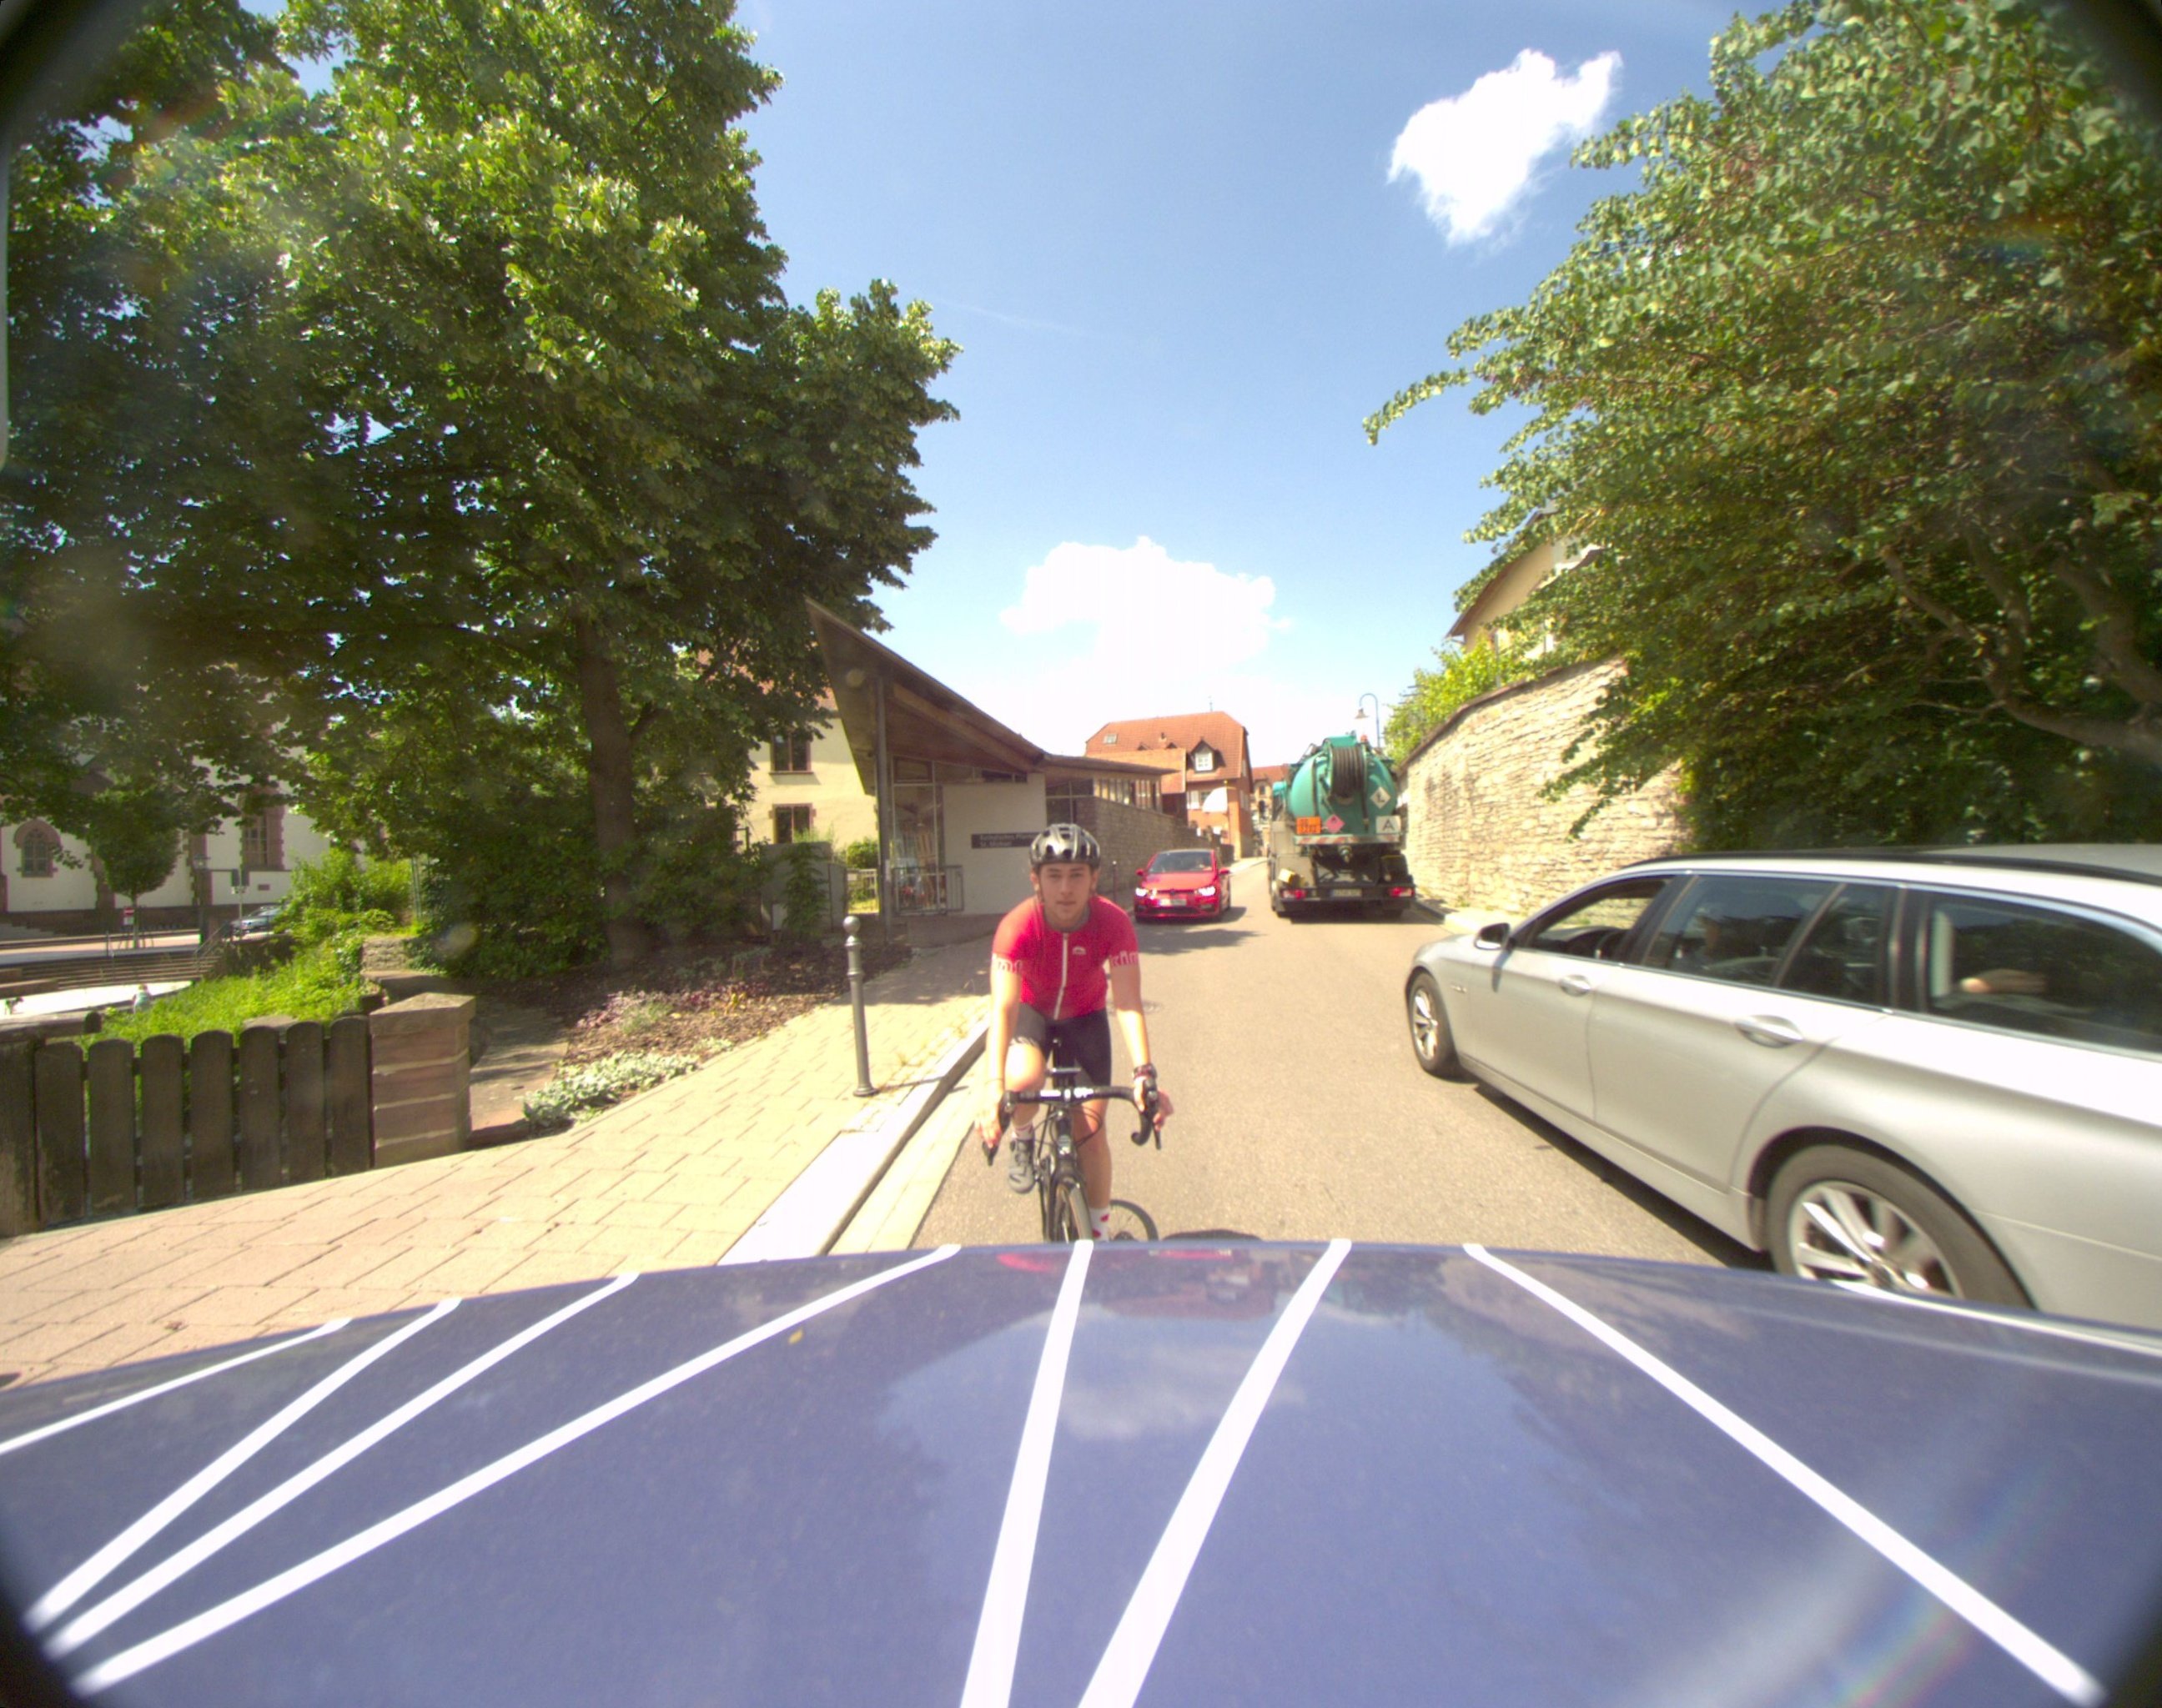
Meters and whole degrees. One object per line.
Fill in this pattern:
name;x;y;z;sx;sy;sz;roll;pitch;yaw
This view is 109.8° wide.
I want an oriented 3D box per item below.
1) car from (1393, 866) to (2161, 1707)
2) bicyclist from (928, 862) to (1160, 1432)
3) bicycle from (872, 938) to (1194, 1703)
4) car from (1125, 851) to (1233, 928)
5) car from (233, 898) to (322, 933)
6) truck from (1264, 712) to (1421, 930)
car;3.035;0.852;2.913;1.900;1.491;4.614;-2;0;2
bicyclist;-0.101;0.745;2.283;0.532;1.396;0.755;-2;2;-2
bicycle;-0.117;0.944;2.371;0.531;1.070;2.053;-2;2;-2
car;2.111;0.657;15.551;1.667;1.344;3.498;-2;0;16
car;-41.515;3.140;39.378;1.672;1.496;3.804;-3;0;-23
truck;5.557;-0.580;17.594;2.415;3.637;9.576;-1;1;13
